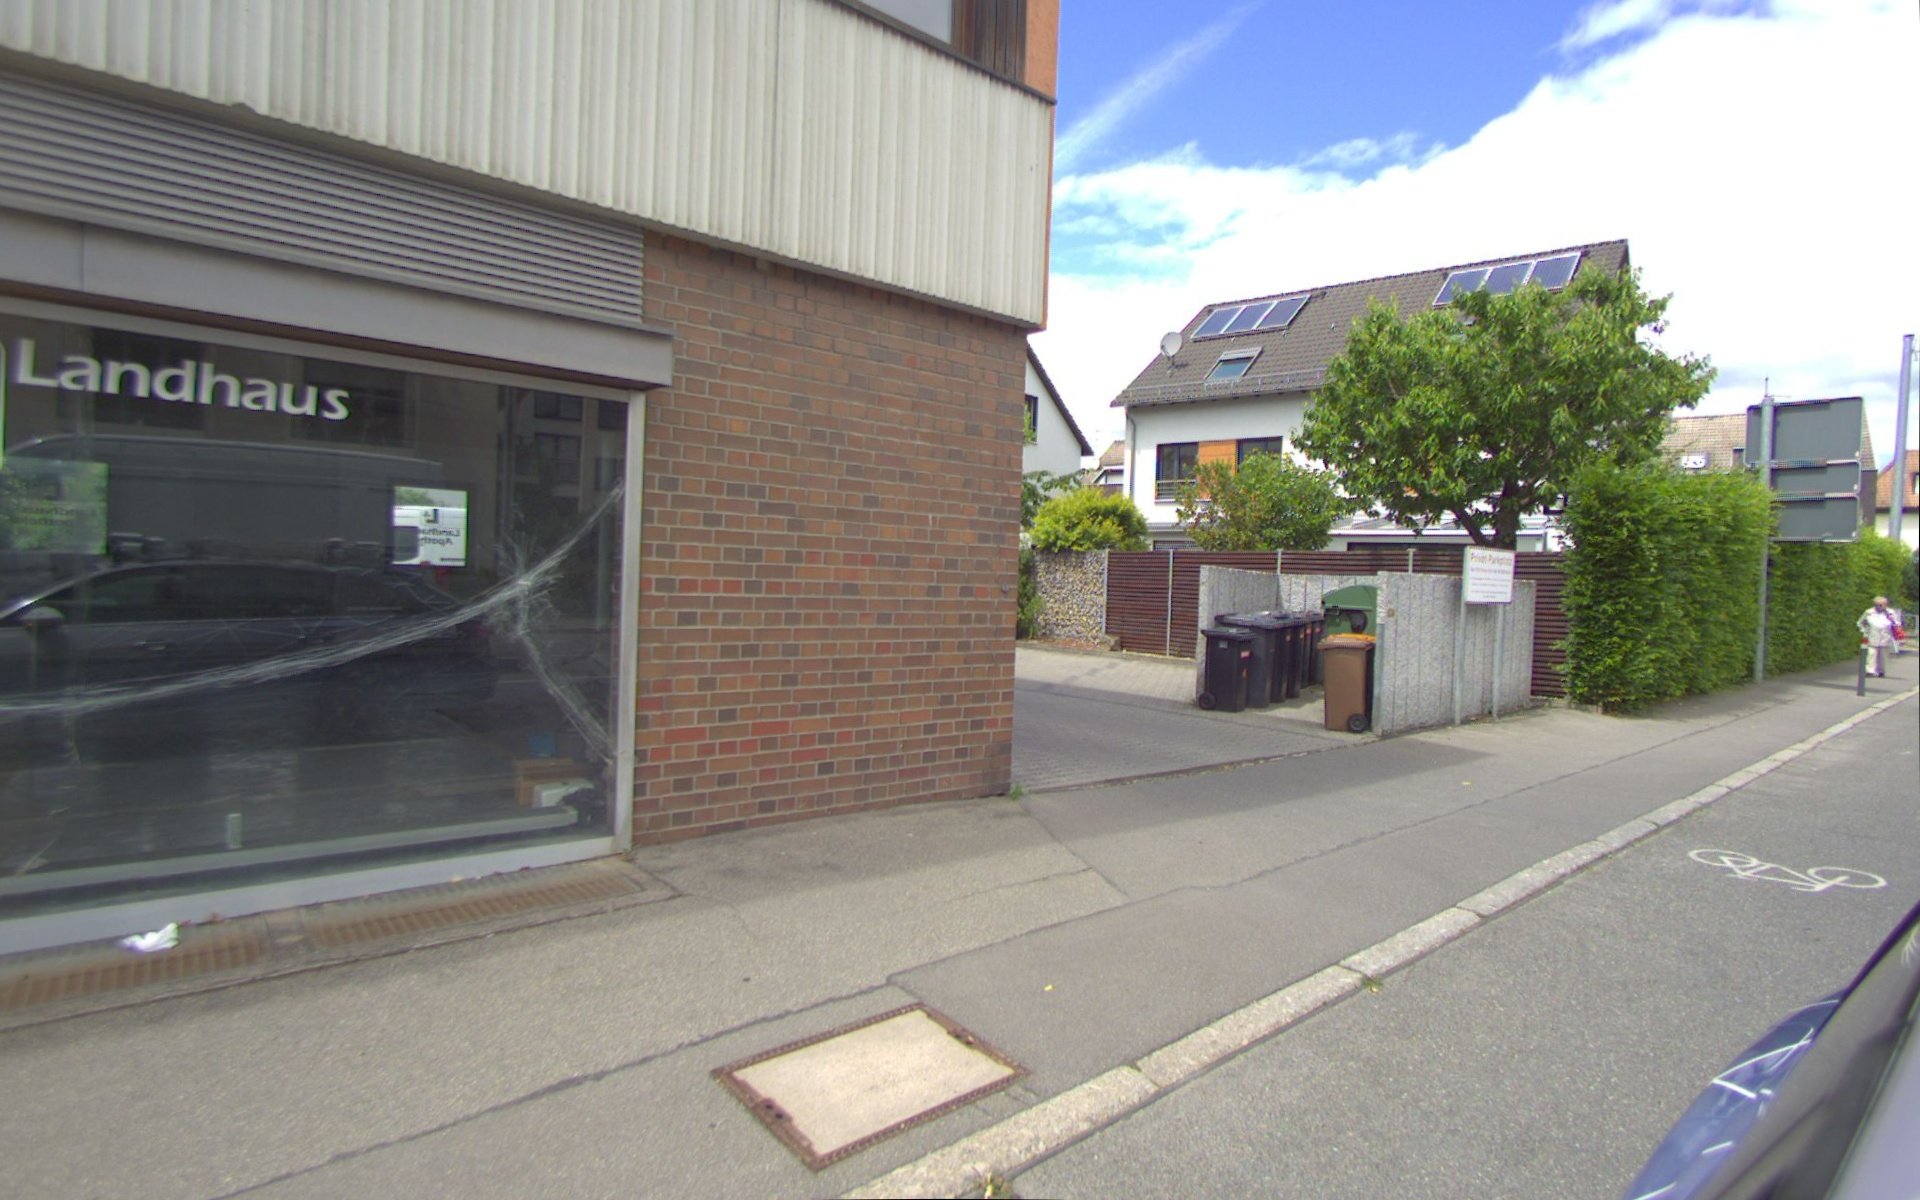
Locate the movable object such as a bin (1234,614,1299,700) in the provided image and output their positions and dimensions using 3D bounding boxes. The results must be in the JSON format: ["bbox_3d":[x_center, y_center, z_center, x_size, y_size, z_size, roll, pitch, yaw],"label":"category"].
[{"bbox_3d":[3.725,0.678,12.280,0.624,0.979,0.534,1,1,33],"label":"movable object such as a bin"}]

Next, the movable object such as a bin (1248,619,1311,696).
[{"bbox_3d":[4.026,0.711,12.734,0.630,0.903,0.534,1,1,33],"label":"movable object such as a bin"}]

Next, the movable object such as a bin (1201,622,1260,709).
[{"bbox_3d":[3.054,0.723,11.404,0.490,0.924,0.534,1,1,33],"label":"movable object such as a bin"}]

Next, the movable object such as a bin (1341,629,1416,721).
[{"bbox_3d":[4.489,0.787,10.861,0.532,0.903,0.668,2,1,43],"label":"movable object such as a bin"}]

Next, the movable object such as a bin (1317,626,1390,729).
[{"bbox_3d":[4.001,0.762,10.283,0.530,0.963,0.678,1,1,36],"label":"movable object such as a bin"}]

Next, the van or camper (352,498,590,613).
[{"bbox_3d":[-12.055,-1.067,25.476,2.034,2.574,5.474,2,1,21],"label":"van or camper"}]

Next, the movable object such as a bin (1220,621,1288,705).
[{"bbox_3d":[3.432,0.719,11.817,0.630,0.903,0.534,1,1,33],"label":"movable object such as a bin"}]

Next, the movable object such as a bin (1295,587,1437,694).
[{"bbox_3d":[5.302,0.487,13.198,1.509,1.278,1.190,0,1,-43],"label":"movable object such as a bin"}]

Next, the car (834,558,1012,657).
[{"bbox_3d":[-0.555,0.078,18.352,1.768,1.555,3.767,2,2,23],"label":"car"}]

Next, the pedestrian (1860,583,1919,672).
[{"bbox_3d":[17.883,0.508,19.375,0.641,1.637,0.801,1,3,-39],"label":"pedestrian"}]
